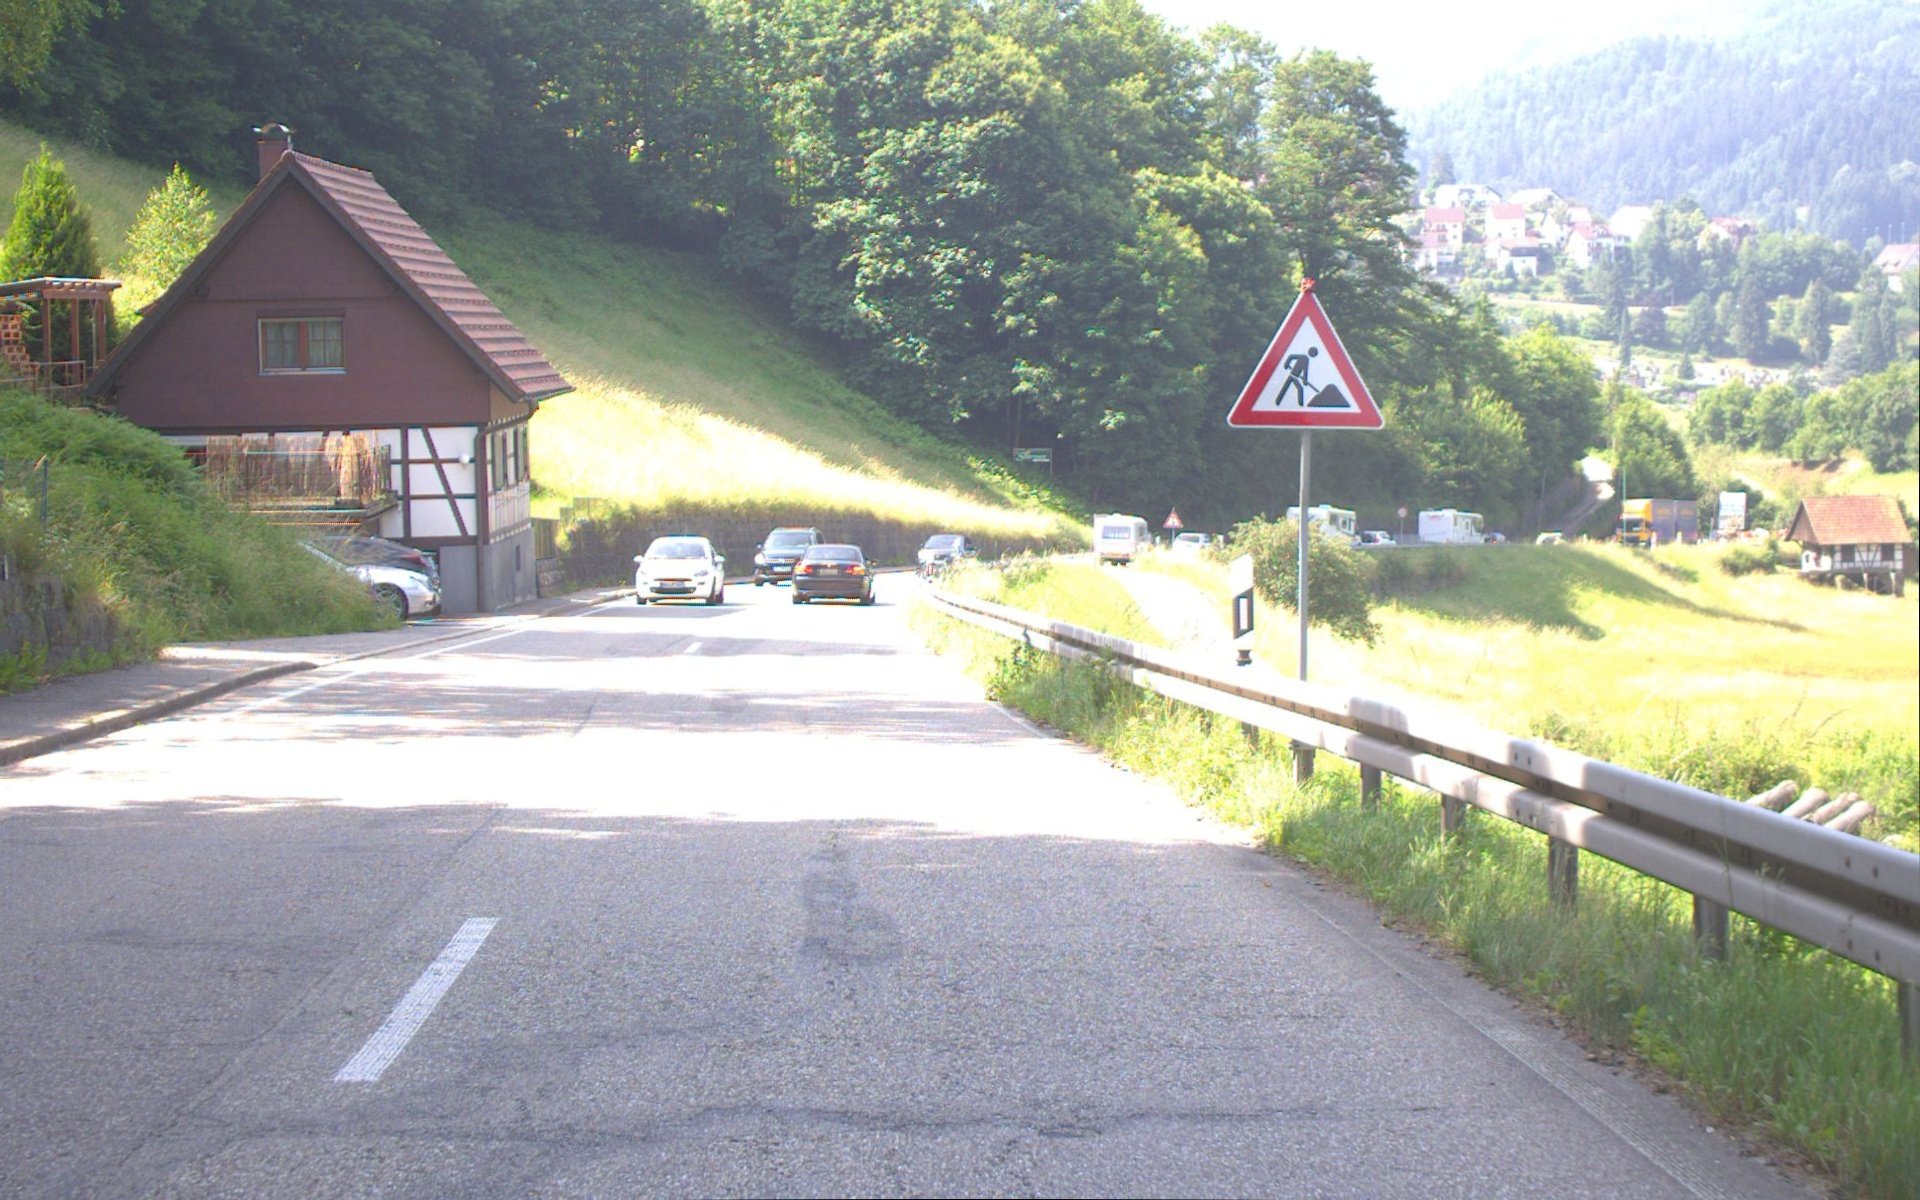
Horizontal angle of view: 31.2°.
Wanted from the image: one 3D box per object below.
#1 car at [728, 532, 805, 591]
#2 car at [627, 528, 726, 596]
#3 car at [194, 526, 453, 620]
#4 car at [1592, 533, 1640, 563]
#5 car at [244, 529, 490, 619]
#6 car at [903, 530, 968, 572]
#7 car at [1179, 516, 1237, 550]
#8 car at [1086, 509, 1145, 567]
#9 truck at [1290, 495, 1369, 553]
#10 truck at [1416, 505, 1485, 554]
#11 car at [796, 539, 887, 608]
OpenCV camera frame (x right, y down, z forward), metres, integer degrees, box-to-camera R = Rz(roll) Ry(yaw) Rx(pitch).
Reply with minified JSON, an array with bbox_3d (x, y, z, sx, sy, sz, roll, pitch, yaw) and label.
[{"bbox_3d":[-5.501,-1.102,98.260,1.889,1.639,4.258,0,1,1],"label":"car"},{"bbox_3d":[-6.144,-0.837,74.828,1.777,1.432,4.000,0,1,1],"label":"car"},{"bbox_3d":[-10.272,-0.450,55.623,3.816,1.412,1.857,1,2,1],"label":"car"},{"bbox_3d":[46.296,-3.681,242.624,1.997,1.919,3.993,5,2,30],"label":"car"},{"bbox_3d":[-10.029,-0.459,58.328,3.816,1.428,1.864,1,2,1],"label":"car"},{"bbox_3d":[-0.881,-1.822,126.914,1.765,1.391,4.144,2,2,8],"label":"car"},{"bbox_3d":[12.331,-3.340,170.688,1.995,1.479,3.997,5,3,16],"label":"car"},{"bbox_3d":[6.799,-2.727,150.026,1.994,2.344,4.913,2,3,8],"label":"car"},{"bbox_3d":[20.646,-4.297,191.824,2.793,2.987,6.862,5,3,18],"label":"truck"},{"bbox_3d":[30.518,-4.348,213.806,2.241,2.794,6.223,3,1,26],"label":"truck"},{"bbox_3d":[-2.654,-0.616,77.772,1.771,1.331,3.767,2,3,2],"label":"car"}]
